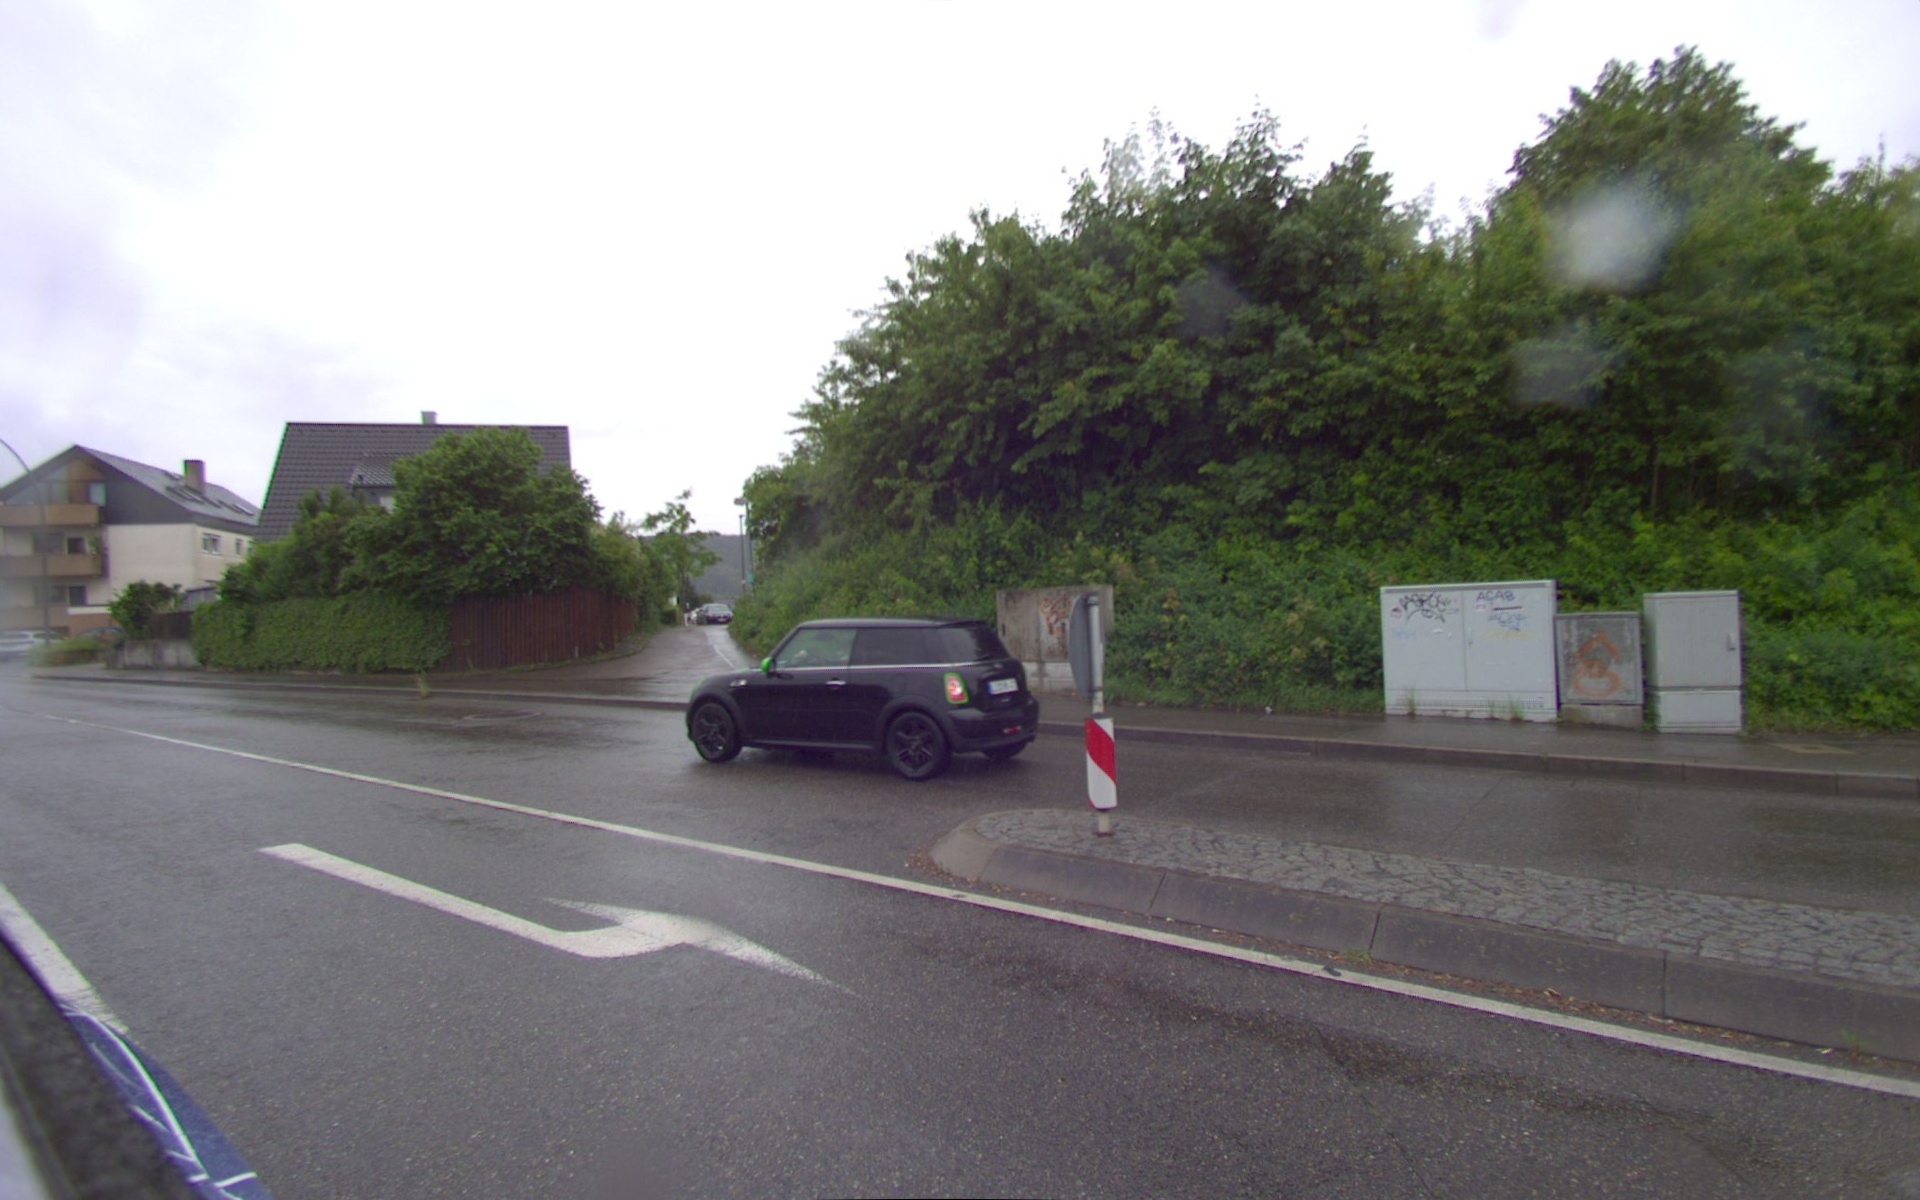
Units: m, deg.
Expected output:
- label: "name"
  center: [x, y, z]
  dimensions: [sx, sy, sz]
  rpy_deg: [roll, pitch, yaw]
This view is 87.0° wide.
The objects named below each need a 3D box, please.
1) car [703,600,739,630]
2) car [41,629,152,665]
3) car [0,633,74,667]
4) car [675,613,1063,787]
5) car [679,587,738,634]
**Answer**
- label: "car"
  center: [-15.577, 0.951, 66.169]
  dimensions: [1.968, 1.873, 4.008]
  rpy_deg: [-2, 0, -9]
- label: "car"
  center: [-41.294, 2.223, 48.493]
  dimensions: [3.609, 1.530, 1.759]
  rpy_deg: [-2, 0, -15]
- label: "car"
  center: [-46.764, 2.505, 50.929]
  dimensions: [1.837, 1.530, 4.012]
  rpy_deg: [-2, 0, -18]
- label: "car"
  center: [-0.923, 0.856, 9.817]
  dimensions: [3.448, 1.397, 1.663]
  rpy_deg: [-2, -1, 32]
- label: "car"
  center: [-9.164, 0.380, 37.047]
  dimensions: [1.683, 1.600, 3.668]
  rpy_deg: [-1, 0, -8]
